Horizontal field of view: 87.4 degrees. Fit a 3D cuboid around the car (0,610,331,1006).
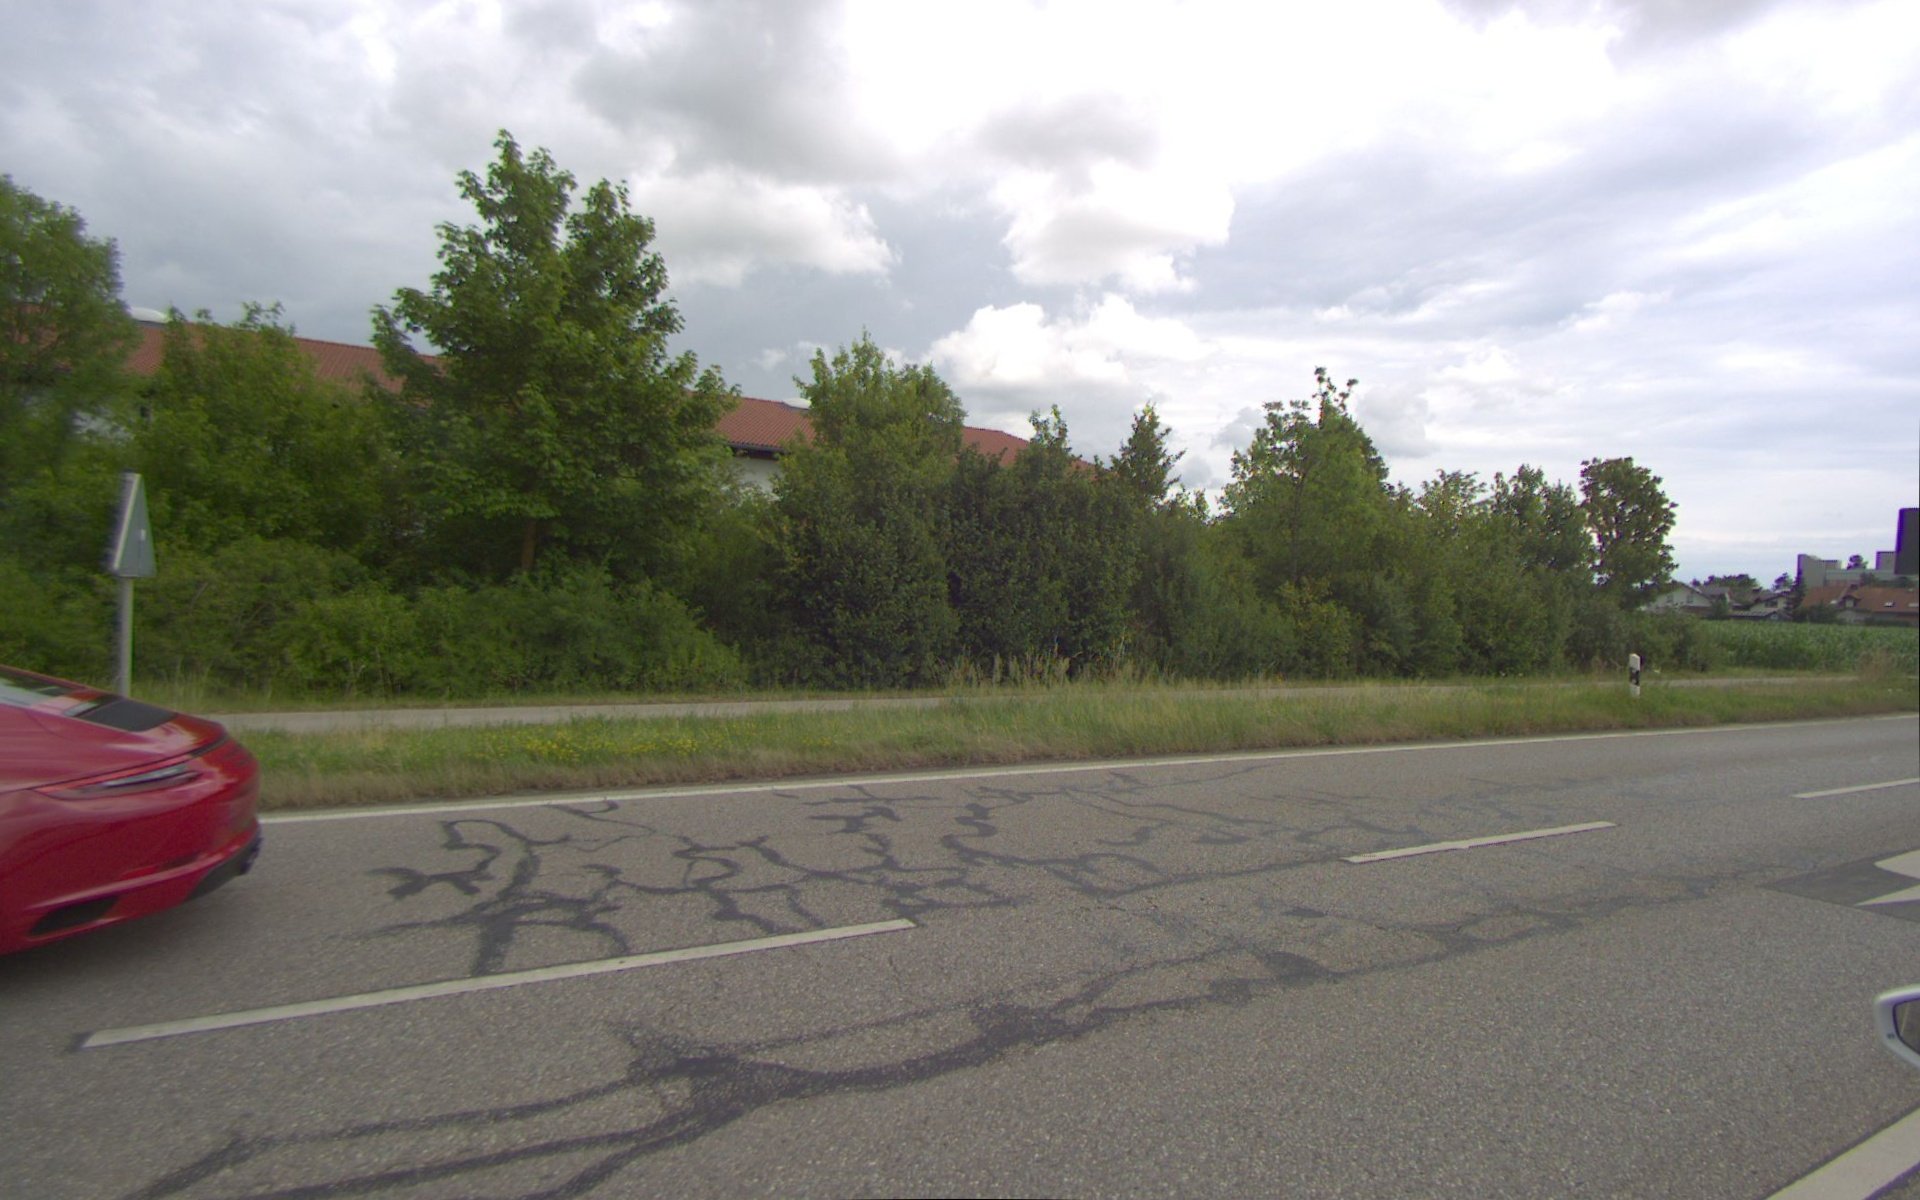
[{"bbox_3d":[-4.714,0.669,3.479,4.161,1.257,1.763,2,0,-29],"label":"car"}]
